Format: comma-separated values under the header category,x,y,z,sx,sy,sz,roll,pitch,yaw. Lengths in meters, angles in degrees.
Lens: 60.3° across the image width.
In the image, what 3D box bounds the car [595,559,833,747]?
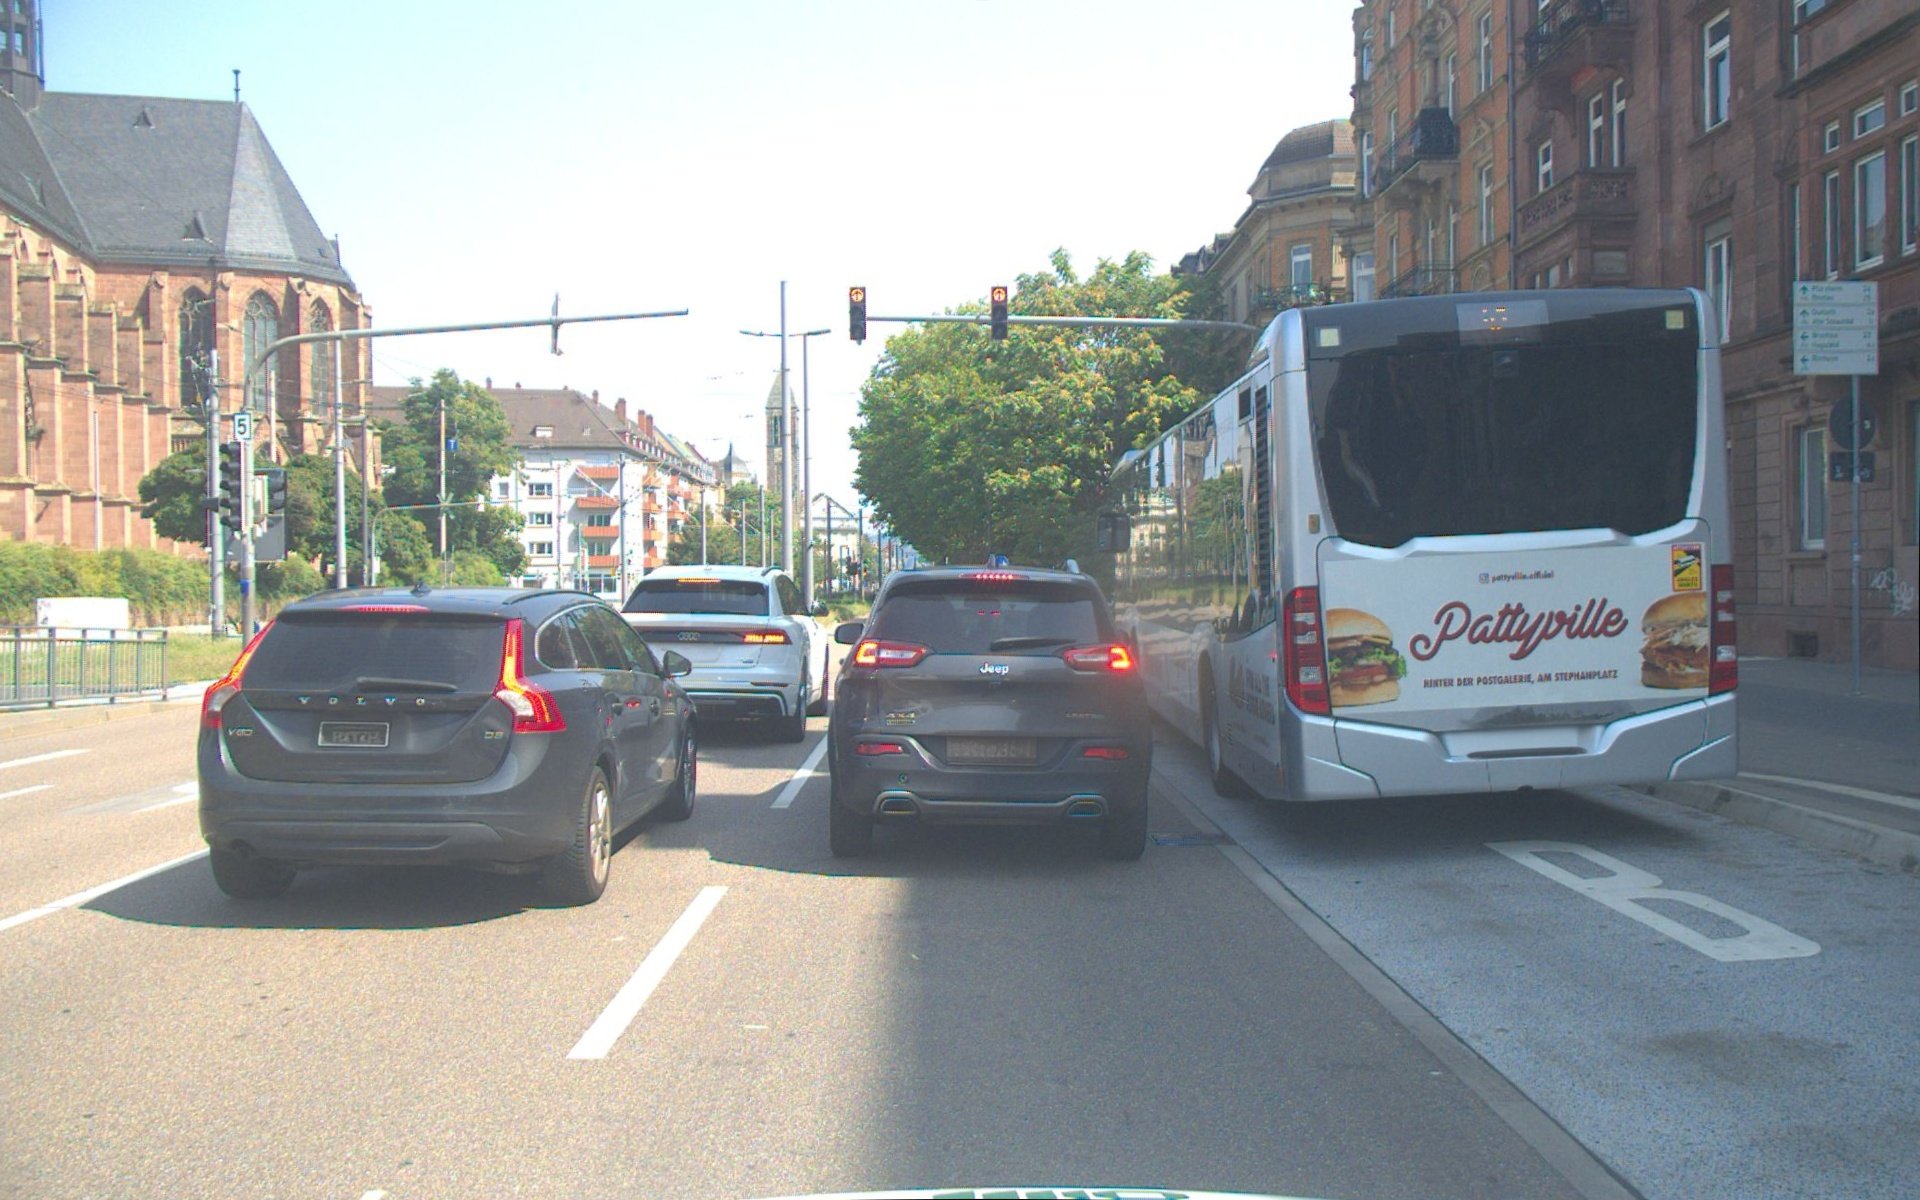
category,x,y,z,sx,sy,sz,roll,pitch,yaw
car,-2.373,0.451,16.987,1.863,1.680,4.307,0,1,-1

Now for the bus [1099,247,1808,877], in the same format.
category,x,y,z,sx,sy,sz,roll,pitch,yaw
bus,3.096,-0.239,14.674,2.687,3.161,11.956,-3,0,1

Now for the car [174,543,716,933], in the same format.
category,x,y,z,sx,sy,sz,roll,pitch,yaw
car,-2.498,0.571,9.175,1.712,1.642,4.307,1,0,-1

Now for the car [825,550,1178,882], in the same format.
category,x,y,z,sx,sy,sz,roll,pitch,yaw
car,0.215,0.576,10.643,1.795,1.680,4.308,1,1,0

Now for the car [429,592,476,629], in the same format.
category,x,y,z,sx,sy,sz,roll,pitch,yaw
car,-21.828,0.420,71.306,1.717,1.460,4.554,-2,1,-15
